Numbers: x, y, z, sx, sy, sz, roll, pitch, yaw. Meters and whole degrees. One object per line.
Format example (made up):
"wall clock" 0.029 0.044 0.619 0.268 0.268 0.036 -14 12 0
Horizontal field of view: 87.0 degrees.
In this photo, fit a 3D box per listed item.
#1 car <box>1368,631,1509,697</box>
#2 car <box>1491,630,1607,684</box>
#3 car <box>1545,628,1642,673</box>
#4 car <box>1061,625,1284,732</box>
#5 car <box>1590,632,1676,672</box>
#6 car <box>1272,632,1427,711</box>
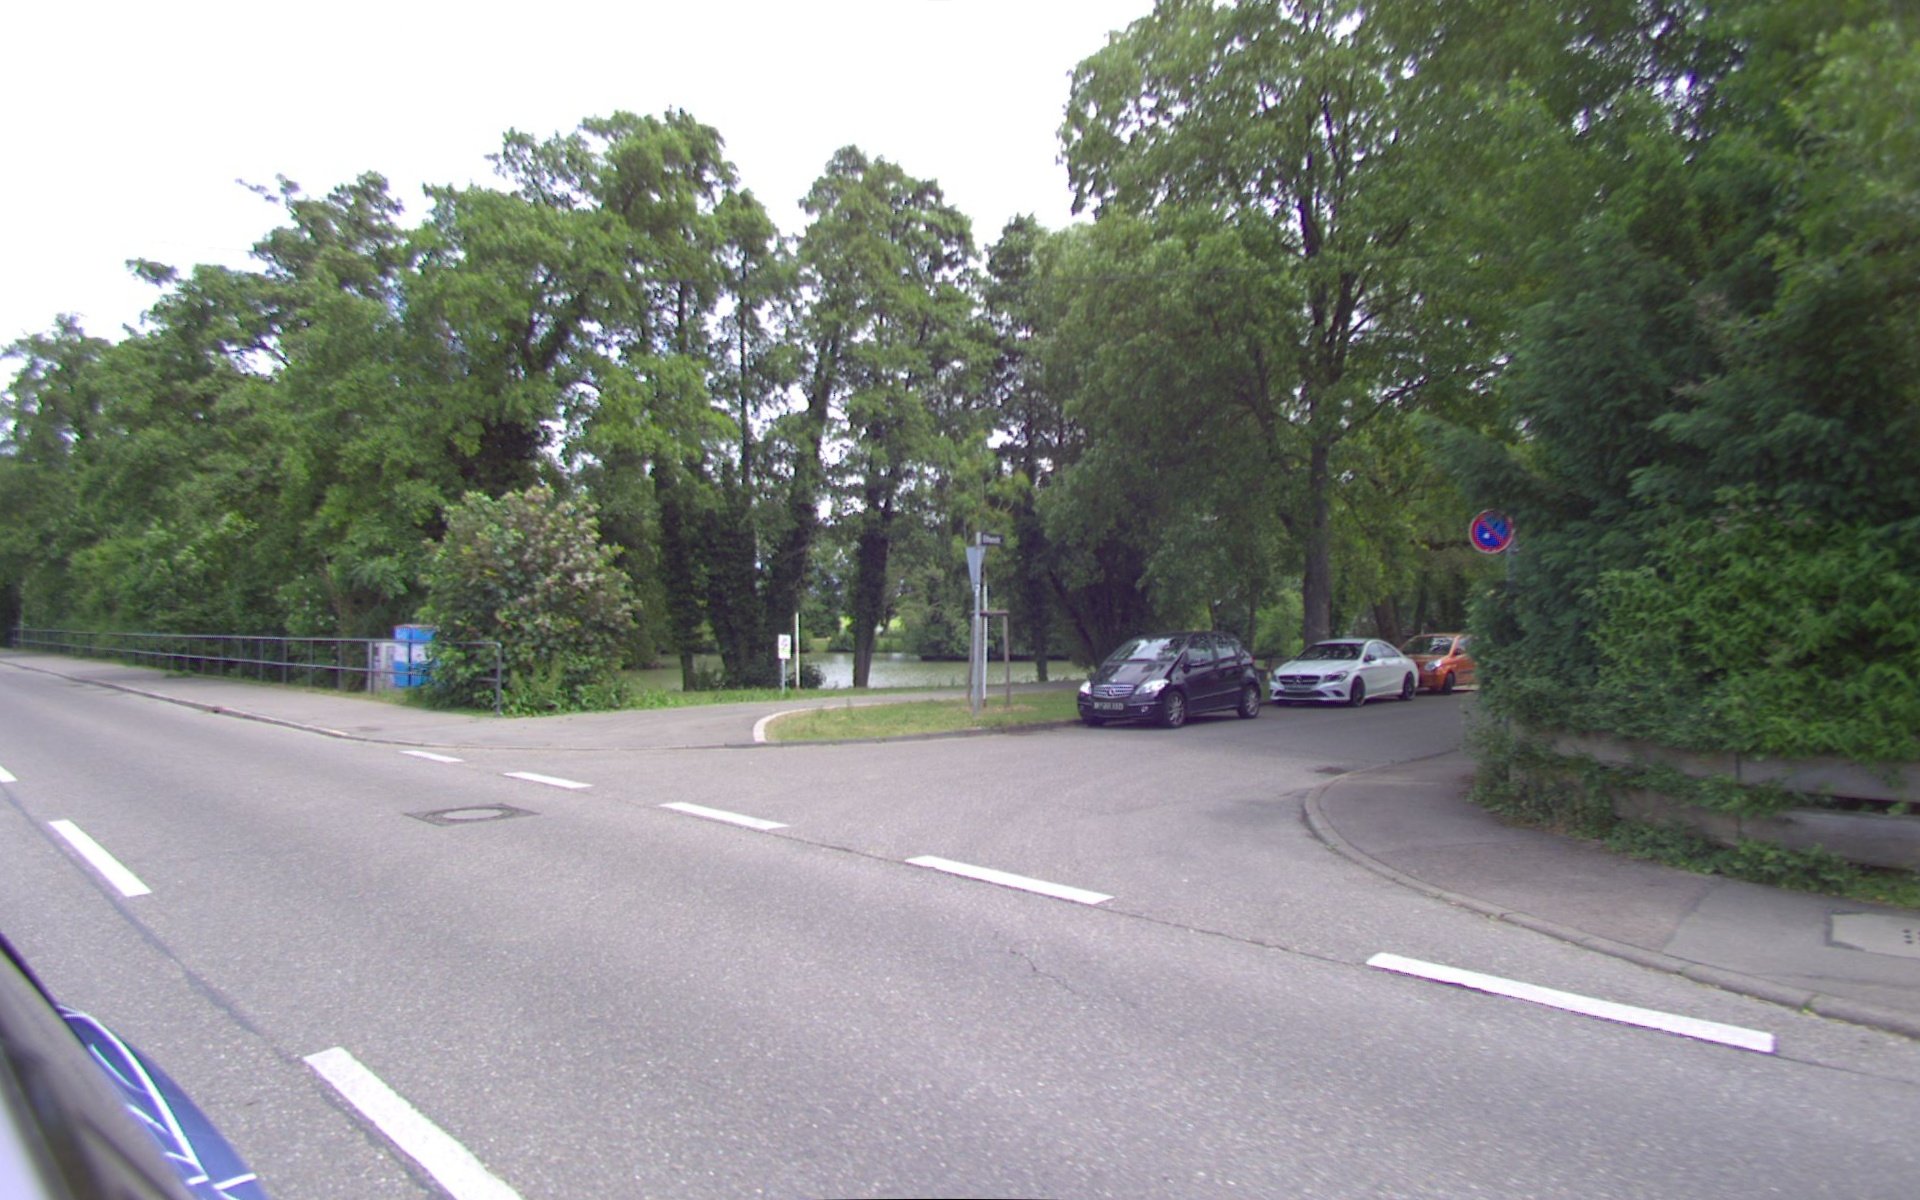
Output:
"car" 12.207 1.549 25.721 3.940 1.490 1.958 1 -2 -44
"car" 18.122 1.696 31.063 3.938 1.490 1.959 1 -2 -42
"car" 22.998 1.802 36.683 3.938 1.490 1.959 1 -2 -42
"car" 3.762 1.270 17.572 1.968 1.634 3.942 -4 -4 44
"car" 27.082 2.049 40.702 3.938 1.490 1.959 1 -2 -42
"car" 8.439 1.464 21.781 1.840 1.529 3.944 -2 -2 42
